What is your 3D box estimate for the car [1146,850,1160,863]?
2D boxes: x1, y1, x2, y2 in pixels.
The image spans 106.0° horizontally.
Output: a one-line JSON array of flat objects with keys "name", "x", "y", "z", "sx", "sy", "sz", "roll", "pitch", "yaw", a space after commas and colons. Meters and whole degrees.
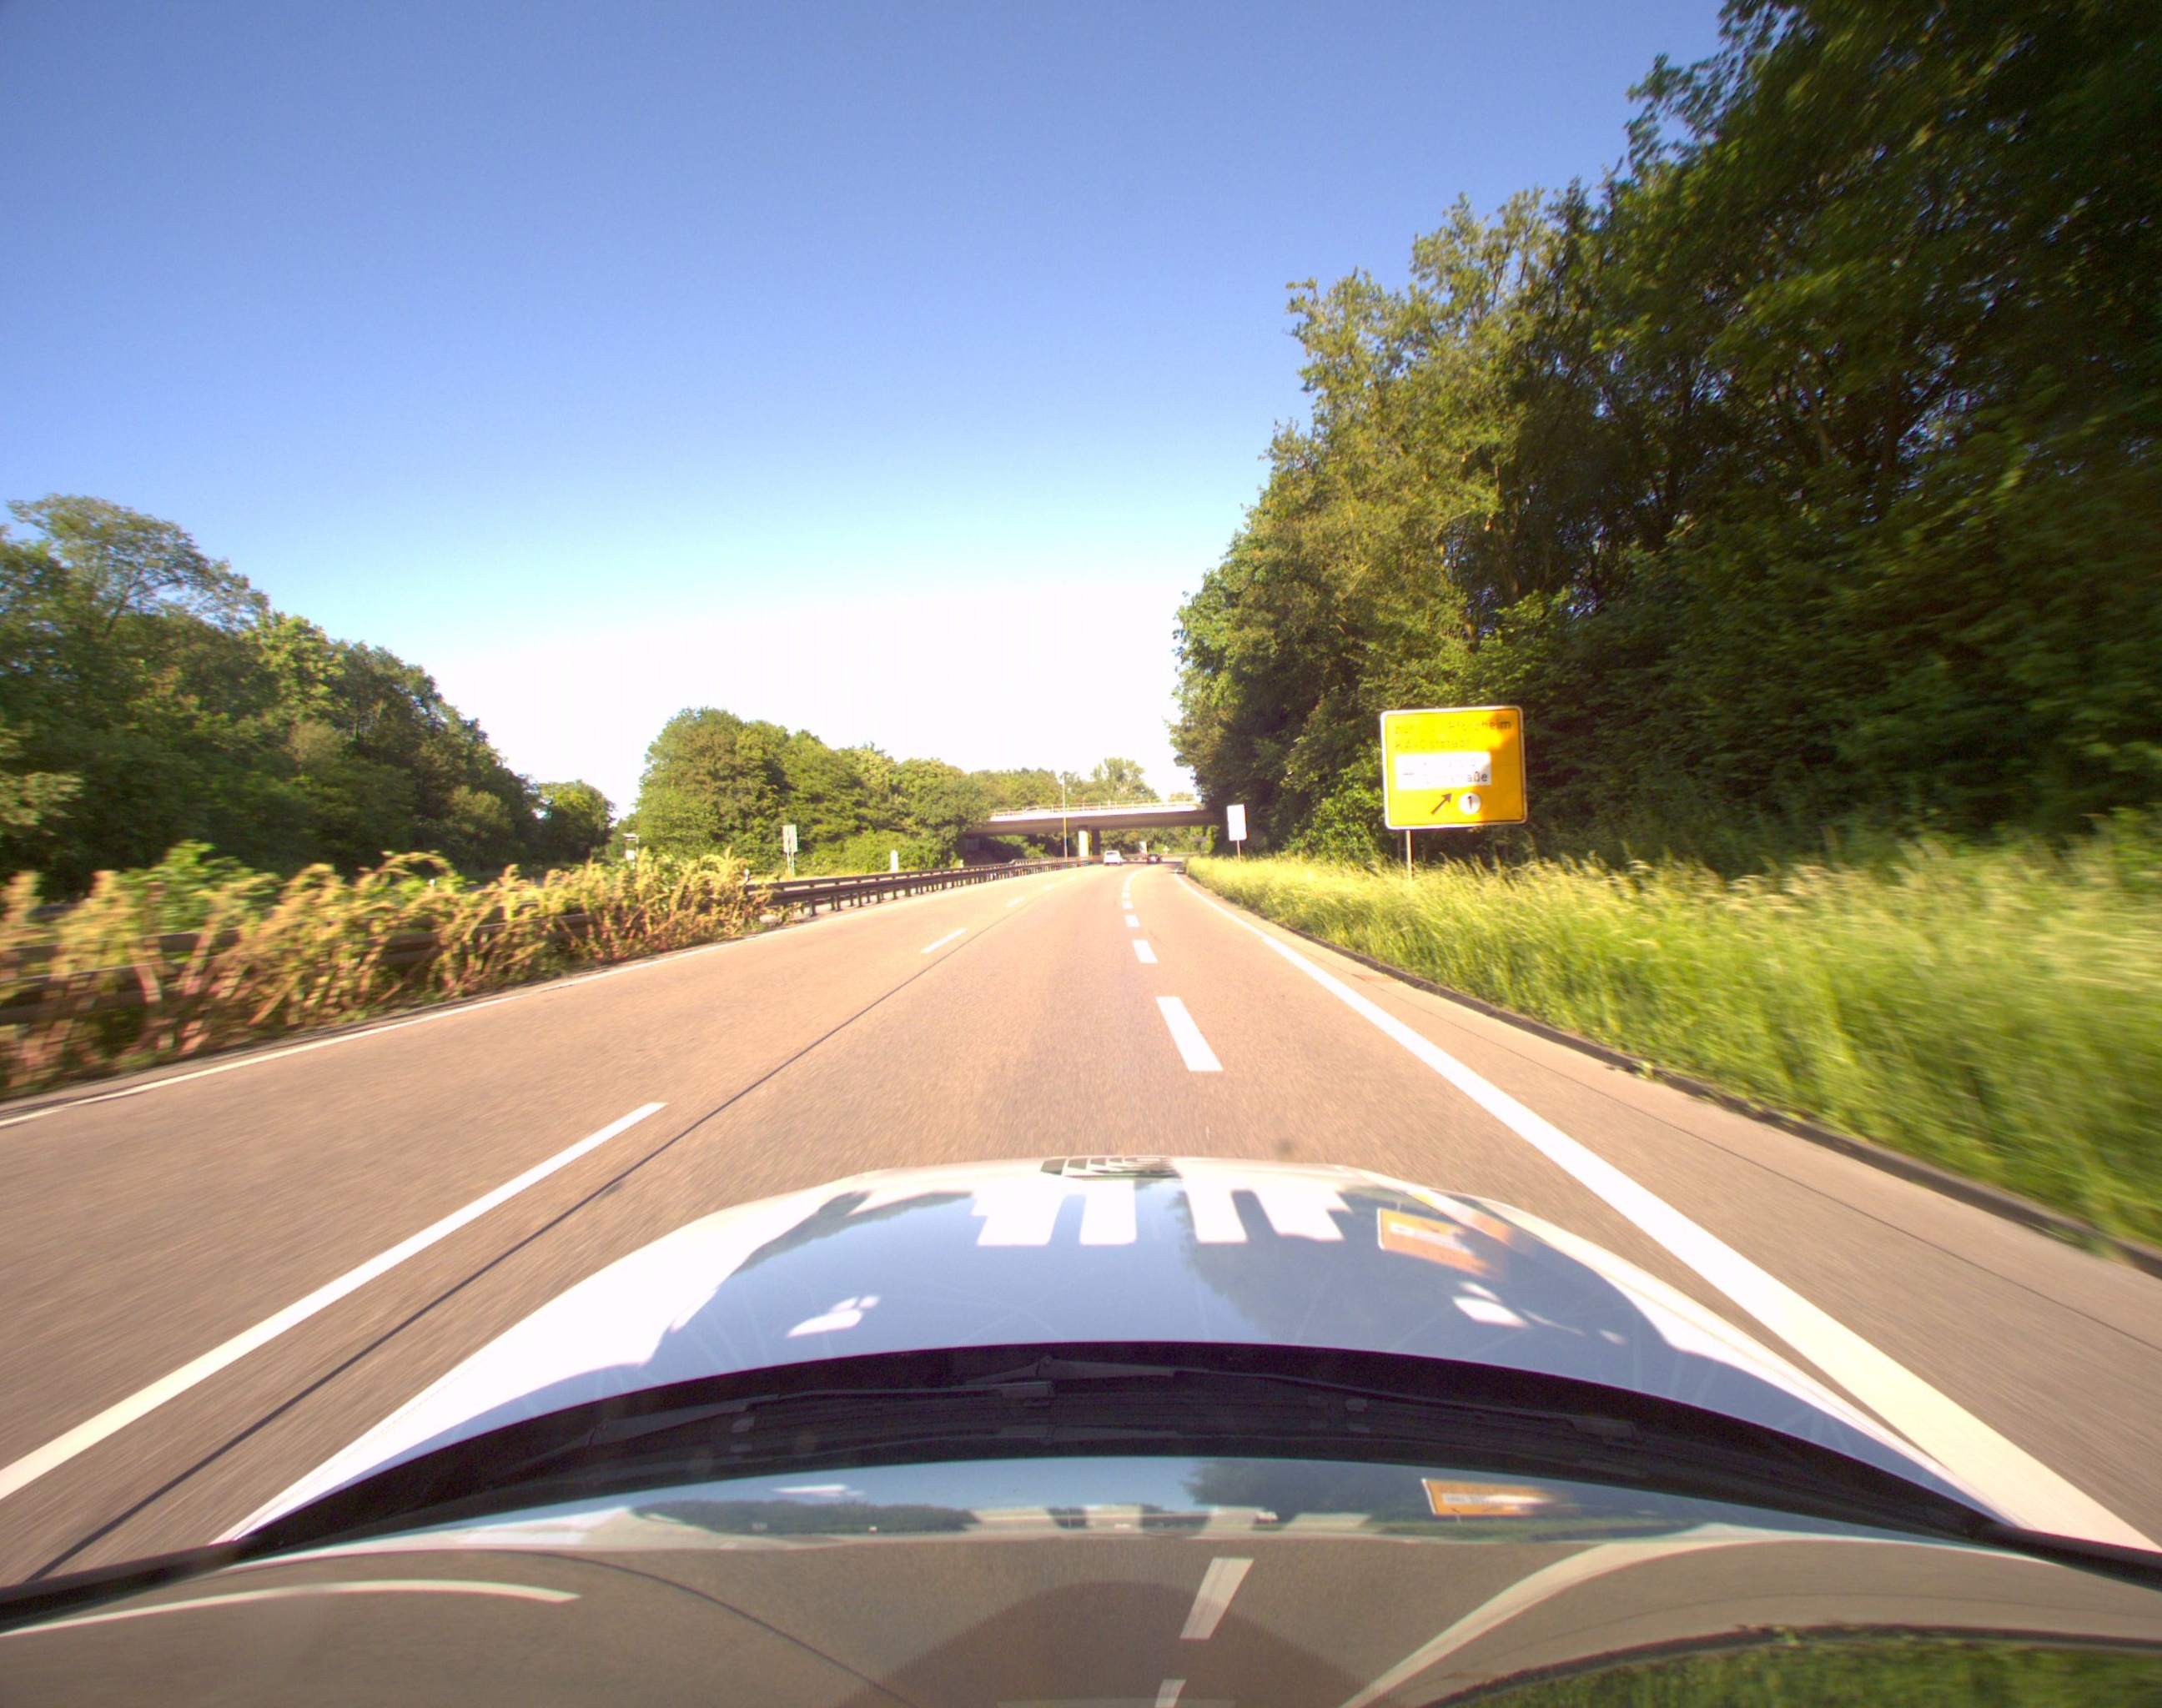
[{"name": "car", "x": 9.779, "y": 0.376, "z": 110.120, "sx": 1.730, "sy": 1.662, "sz": 3.954, "roll": -2, "pitch": 0, "yaw": 7}]

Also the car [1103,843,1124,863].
[{"name": "car", "x": 3.922, "y": -0.164, "z": 97.467, "sx": 1.981, "sy": 2.277, "sz": 4.012, "roll": -2, "pitch": 0, "yaw": 10}]
